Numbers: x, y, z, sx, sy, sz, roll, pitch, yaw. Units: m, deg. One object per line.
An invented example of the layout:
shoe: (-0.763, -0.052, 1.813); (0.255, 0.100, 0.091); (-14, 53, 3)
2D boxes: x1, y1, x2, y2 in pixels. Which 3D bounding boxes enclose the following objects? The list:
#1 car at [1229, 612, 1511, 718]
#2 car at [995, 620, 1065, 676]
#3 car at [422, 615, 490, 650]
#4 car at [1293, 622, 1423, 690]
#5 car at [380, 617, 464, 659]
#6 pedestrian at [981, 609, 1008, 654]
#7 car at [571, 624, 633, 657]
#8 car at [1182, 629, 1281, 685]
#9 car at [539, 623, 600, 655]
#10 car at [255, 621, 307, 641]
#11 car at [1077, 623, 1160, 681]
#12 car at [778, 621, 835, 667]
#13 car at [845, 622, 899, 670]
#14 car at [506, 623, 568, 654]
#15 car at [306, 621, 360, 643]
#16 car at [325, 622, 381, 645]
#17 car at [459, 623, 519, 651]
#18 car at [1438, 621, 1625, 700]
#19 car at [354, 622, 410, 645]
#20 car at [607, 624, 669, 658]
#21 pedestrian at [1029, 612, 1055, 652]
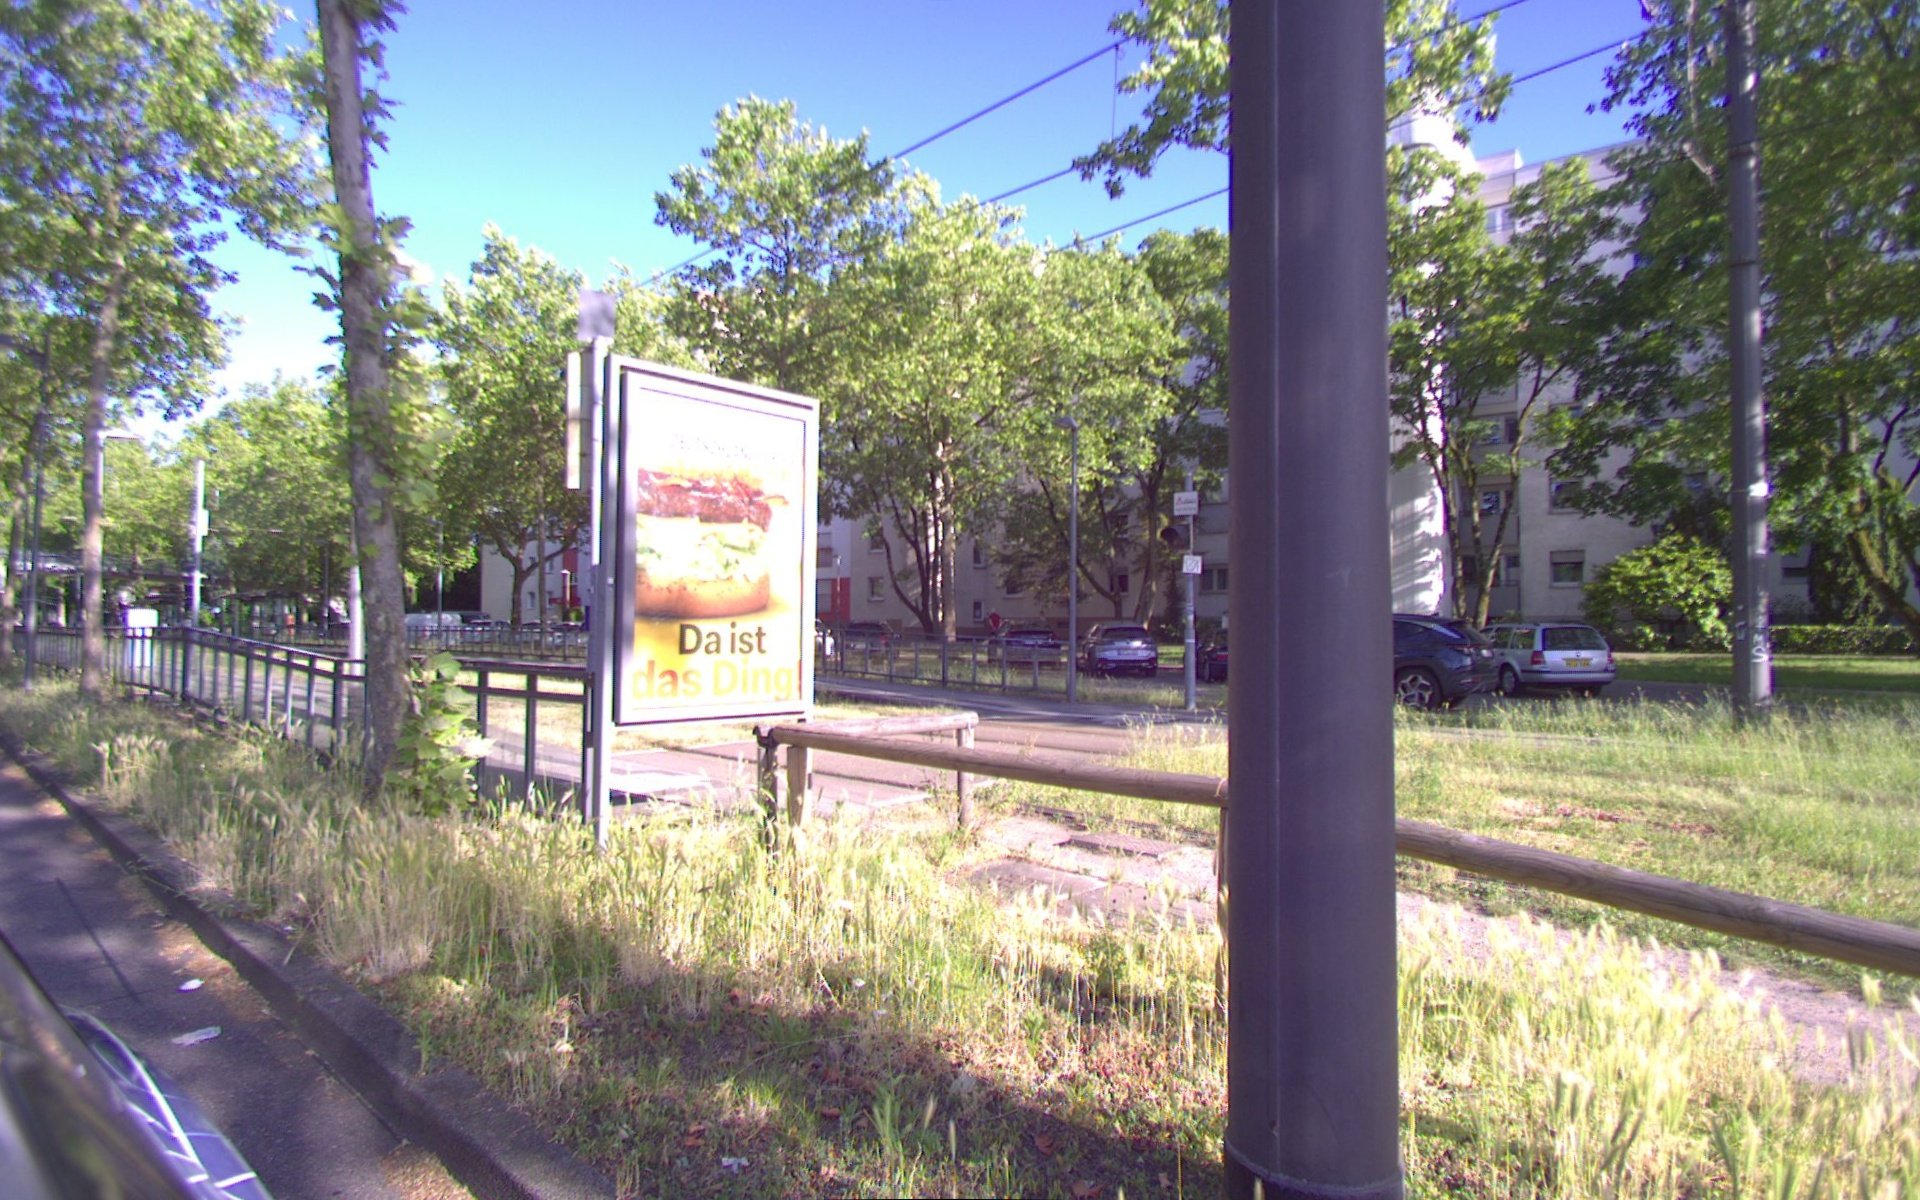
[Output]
car: (7.115, 1.065, 17.846); (4.293, 1.631, 1.634); (-2, -1, 42)
car: (1.993, 1.353, 29.661); (1.633, 1.522, 3.805); (-1, -1, -2)
car: (-28.443, 1.822, 57.249); (1.814, 1.888, 4.323); (-1, -1, -2)
car: (9.152, 1.237, 23.584); (1.559, 1.413, 3.638); (-1, -1, 0)
car: (-25.303, 1.748, 47.499); (4.899, 1.835, 1.808); (-2, -1, 40)
pedestrian: (1.378, 1.232, 40.347); (0.786, 1.745, 0.755); (-1, 0, 39)
car: (-16.616, 1.853, 47.153); (1.633, 1.452, 3.805); (-1, -1, -2)
car: (6.684, 1.376, 25.271); (1.445, 1.234, 3.815); (-1, -1, 0)
car: (-19.035, 1.895, 49.534); (1.633, 1.452, 3.805); (-1, -1, -2)
car: (-53.040, 2.399, 79.148); (1.633, 1.452, 3.805); (-1, -1, -2)
car: (4.227, 1.363, 27.513); (1.633, 1.413, 3.803); (-1, -1, 0)
car: (-5.556, 1.567, 37.012); (1.633, 1.522, 3.805); (-1, -1, -2)
car: (-2.966, 1.525, 34.643); (1.633, 1.522, 3.805); (-1, -1, -2)
car: (-21.327, 1.937, 51.178); (1.633, 1.452, 3.805); (-1, -1, -2)
car: (-44.969, 2.285, 72.676); (1.633, 1.452, 3.805); (-1, -1, -2)
car: (-40.828, 2.224, 68.186); (1.633, 1.452, 3.805); (-1, -1, -2)
car: (-25.861, 1.997, 55.654); (1.633, 1.452, 3.805); (-1, -1, -2)
car: (11.483, 1.159, 20.658); (1.559, 1.413, 3.906); (-1, -1, 0)
car: (-37.874, 2.170, 66.373); (1.633, 1.452, 3.805); (-1, -1, -2)
car: (-14.053, 1.763, 44.331); (1.633, 1.366, 3.805); (-1, -1, -2)
pedestrian: (3.478, 1.352, 42.752); (0.786, 1.635, 0.755); (-1, 0, 39)
